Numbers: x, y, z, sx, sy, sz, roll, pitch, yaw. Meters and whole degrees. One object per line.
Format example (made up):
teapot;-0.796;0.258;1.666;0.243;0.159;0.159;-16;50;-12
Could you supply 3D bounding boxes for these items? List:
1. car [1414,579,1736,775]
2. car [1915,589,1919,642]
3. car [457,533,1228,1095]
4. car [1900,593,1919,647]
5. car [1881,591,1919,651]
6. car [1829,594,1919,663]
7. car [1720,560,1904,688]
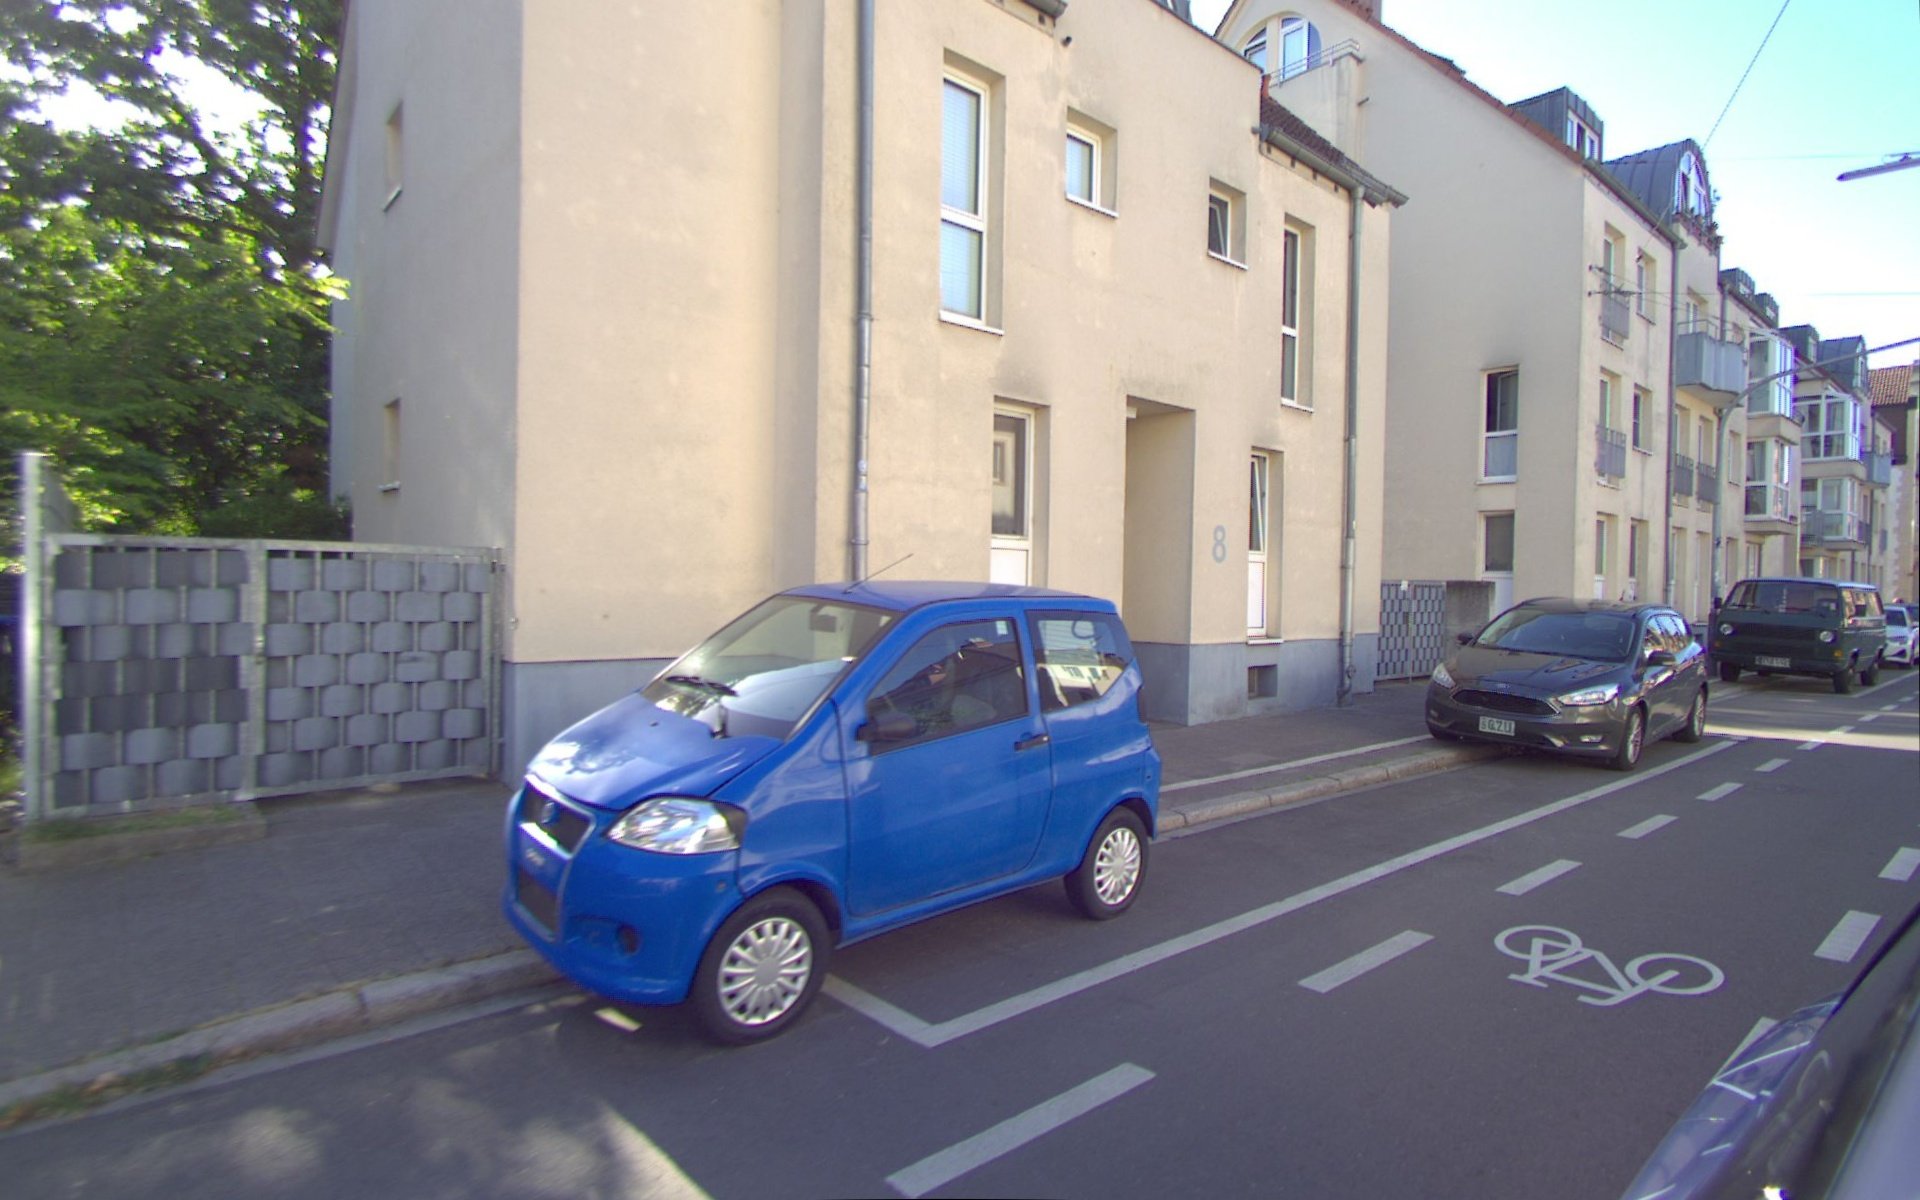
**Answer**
car;6.524;0.641;10.520;4.358;1.619;1.746;0;0;-43
car;32.951;0.493;33.461;3.919;1.721;1.605;0;0;-41
car;-0.317;0.618;4.574;3.238;1.619;1.459;0;0;-43
car;29.492;0.575;30.435;3.307;1.577;1.498;0;0;-42
car;26.274;0.544;27.450;3.589;1.577;1.556;0;0;-42
car;22.227;0.625;24.189;4.101;1.510;1.679;0;0;-42
car;15.324;0.377;18.126;4.484;2.012;1.908;0;0;-42
